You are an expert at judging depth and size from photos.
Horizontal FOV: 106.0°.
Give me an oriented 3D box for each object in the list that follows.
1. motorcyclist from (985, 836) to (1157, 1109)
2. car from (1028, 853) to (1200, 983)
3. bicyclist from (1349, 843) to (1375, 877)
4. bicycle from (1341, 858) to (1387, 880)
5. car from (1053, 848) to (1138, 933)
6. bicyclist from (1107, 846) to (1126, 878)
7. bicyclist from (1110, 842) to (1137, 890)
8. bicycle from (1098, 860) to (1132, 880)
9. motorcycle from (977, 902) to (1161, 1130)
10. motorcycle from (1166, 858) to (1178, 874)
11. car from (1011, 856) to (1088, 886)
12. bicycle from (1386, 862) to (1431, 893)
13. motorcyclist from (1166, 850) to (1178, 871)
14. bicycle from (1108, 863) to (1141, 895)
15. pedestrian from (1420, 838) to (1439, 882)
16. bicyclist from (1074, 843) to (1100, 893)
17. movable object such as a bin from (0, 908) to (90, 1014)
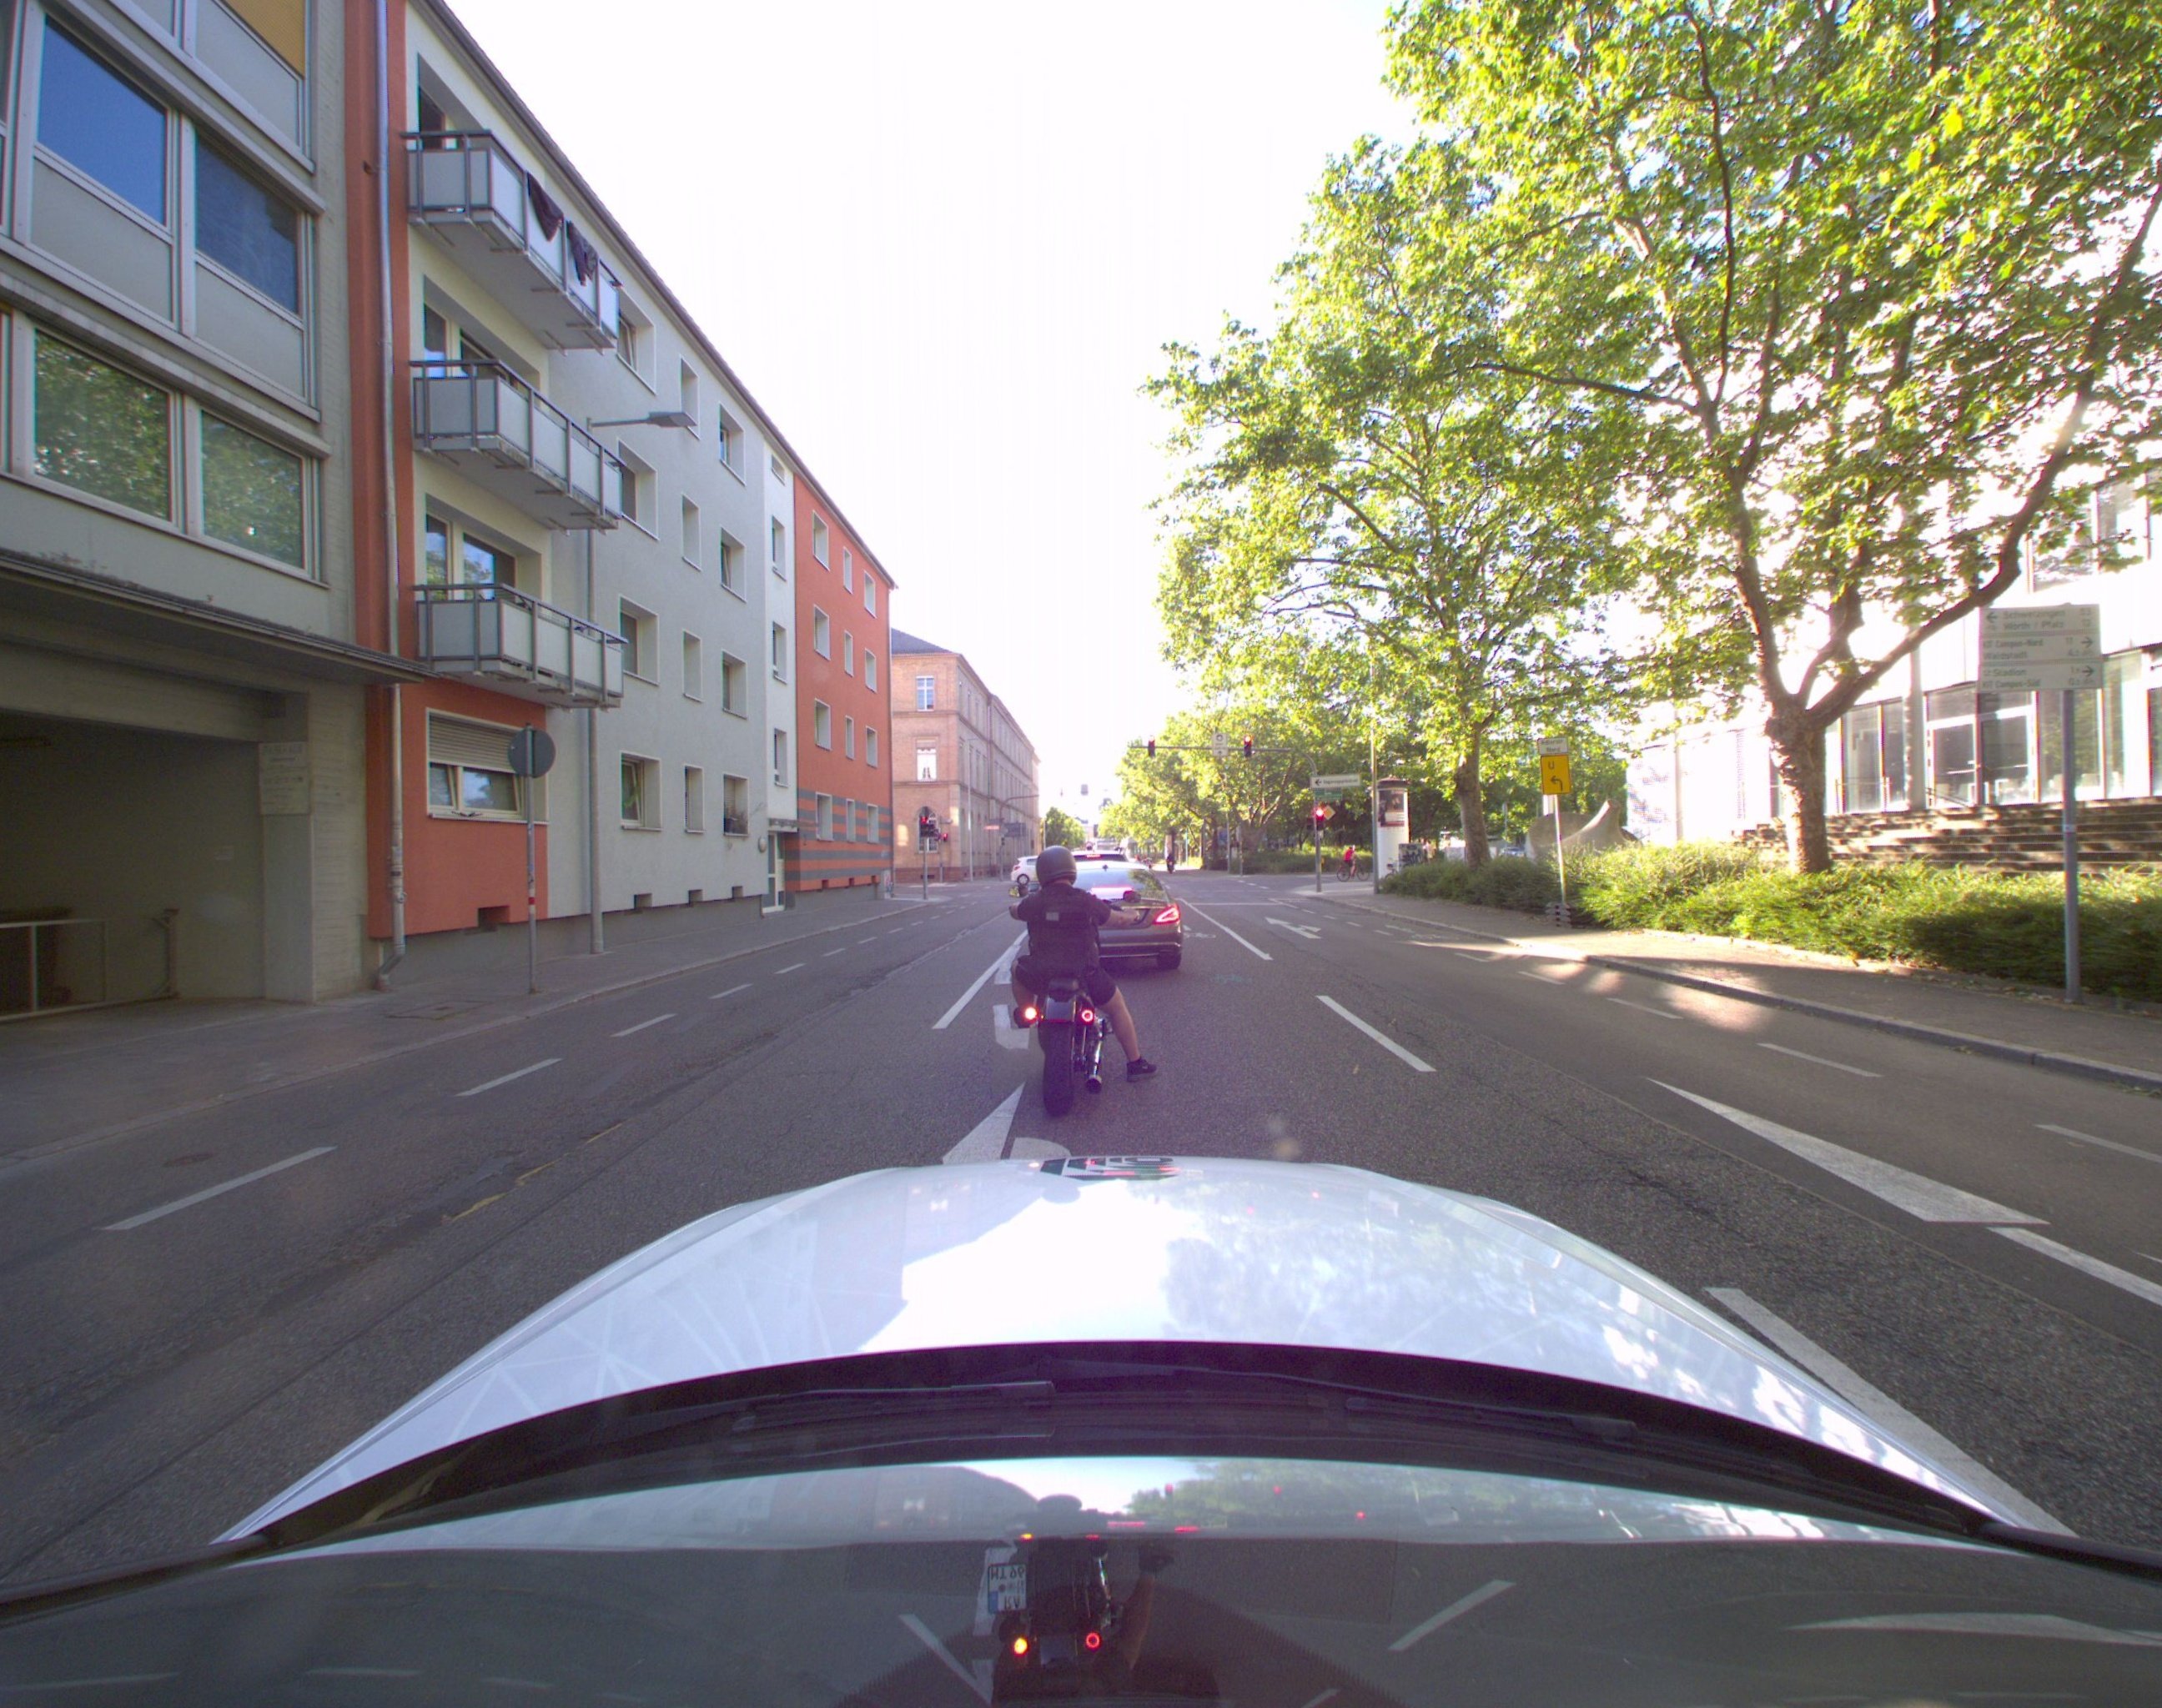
[{"bbox_3d":[-0.036,0.702,5.536,0.986,1.597,1.404,-1,0,2],"label":"motorcyclist"},{"bbox_3d":[0.257,0.745,11.728,1.943,1.473,4.355,-1,0,-5],"label":"car"},{"bbox_3d":[13.752,0.292,39.826,1.034,1.614,0.768,-1,3,3],"label":"bicyclist"},{"bbox_3d":[13.822,0.745,39.845,1.998,0.980,0.768,-1,3,3],"label":"bicycle"},{"bbox_3d":[0.321,0.709,17.898,1.606,1.607,4.329,-1,0,1],"label":"car"},{"bbox_3d":[2.010,0.453,46.240,0.973,1.743,0.609,-1,0,-3],"label":"bicyclist"},{"bbox_3d":[1.548,0.427,29.717,0.703,1.695,1.044,-2,-1,-10],"label":"bicyclist"},{"bbox_3d":[1.932,0.919,46.233,1.829,1.105,0.611,-1,0,-3],"label":"bicycle"},{"bbox_3d":[-0.028,0.962,5.689,0.986,1.078,2.453,-1,0,2],"label":"motorcycle"},{"bbox_3d":[7.600,0.983,68.009,0.835,1.245,2.284,-1,0,2],"label":"motorcycle"},{"bbox_3d":[-1.654,0.855,41.954,3.888,1.486,1.859,0,-1,-5],"label":"car"},{"bbox_3d":[11.027,0.795,27.468,1.346,1.023,0.363,-1,0,2],"label":"bicycle"},{"bbox_3d":[7.593,0.566,68.069,0.835,1.703,1.181,-1,0,2],"label":"motorcyclist"},{"bbox_3d":[1.555,0.903,29.721,0.703,1.103,2.156,-2,-1,-10],"label":"bicycle"},{"bbox_3d":[14.914,0.245,34.838,0.549,1.849,0.594,-1,0,3],"label":"pedestrian"},{"bbox_3d":[0.214,0.484,28.429,0.703,1.692,0.961,-1,0,-11],"label":"bicyclist"},{"bbox_3d":[-11.316,1.117,8.691,0.593,1.041,0.703,0,-1,1],"label":"movable object such as a bin"}]
